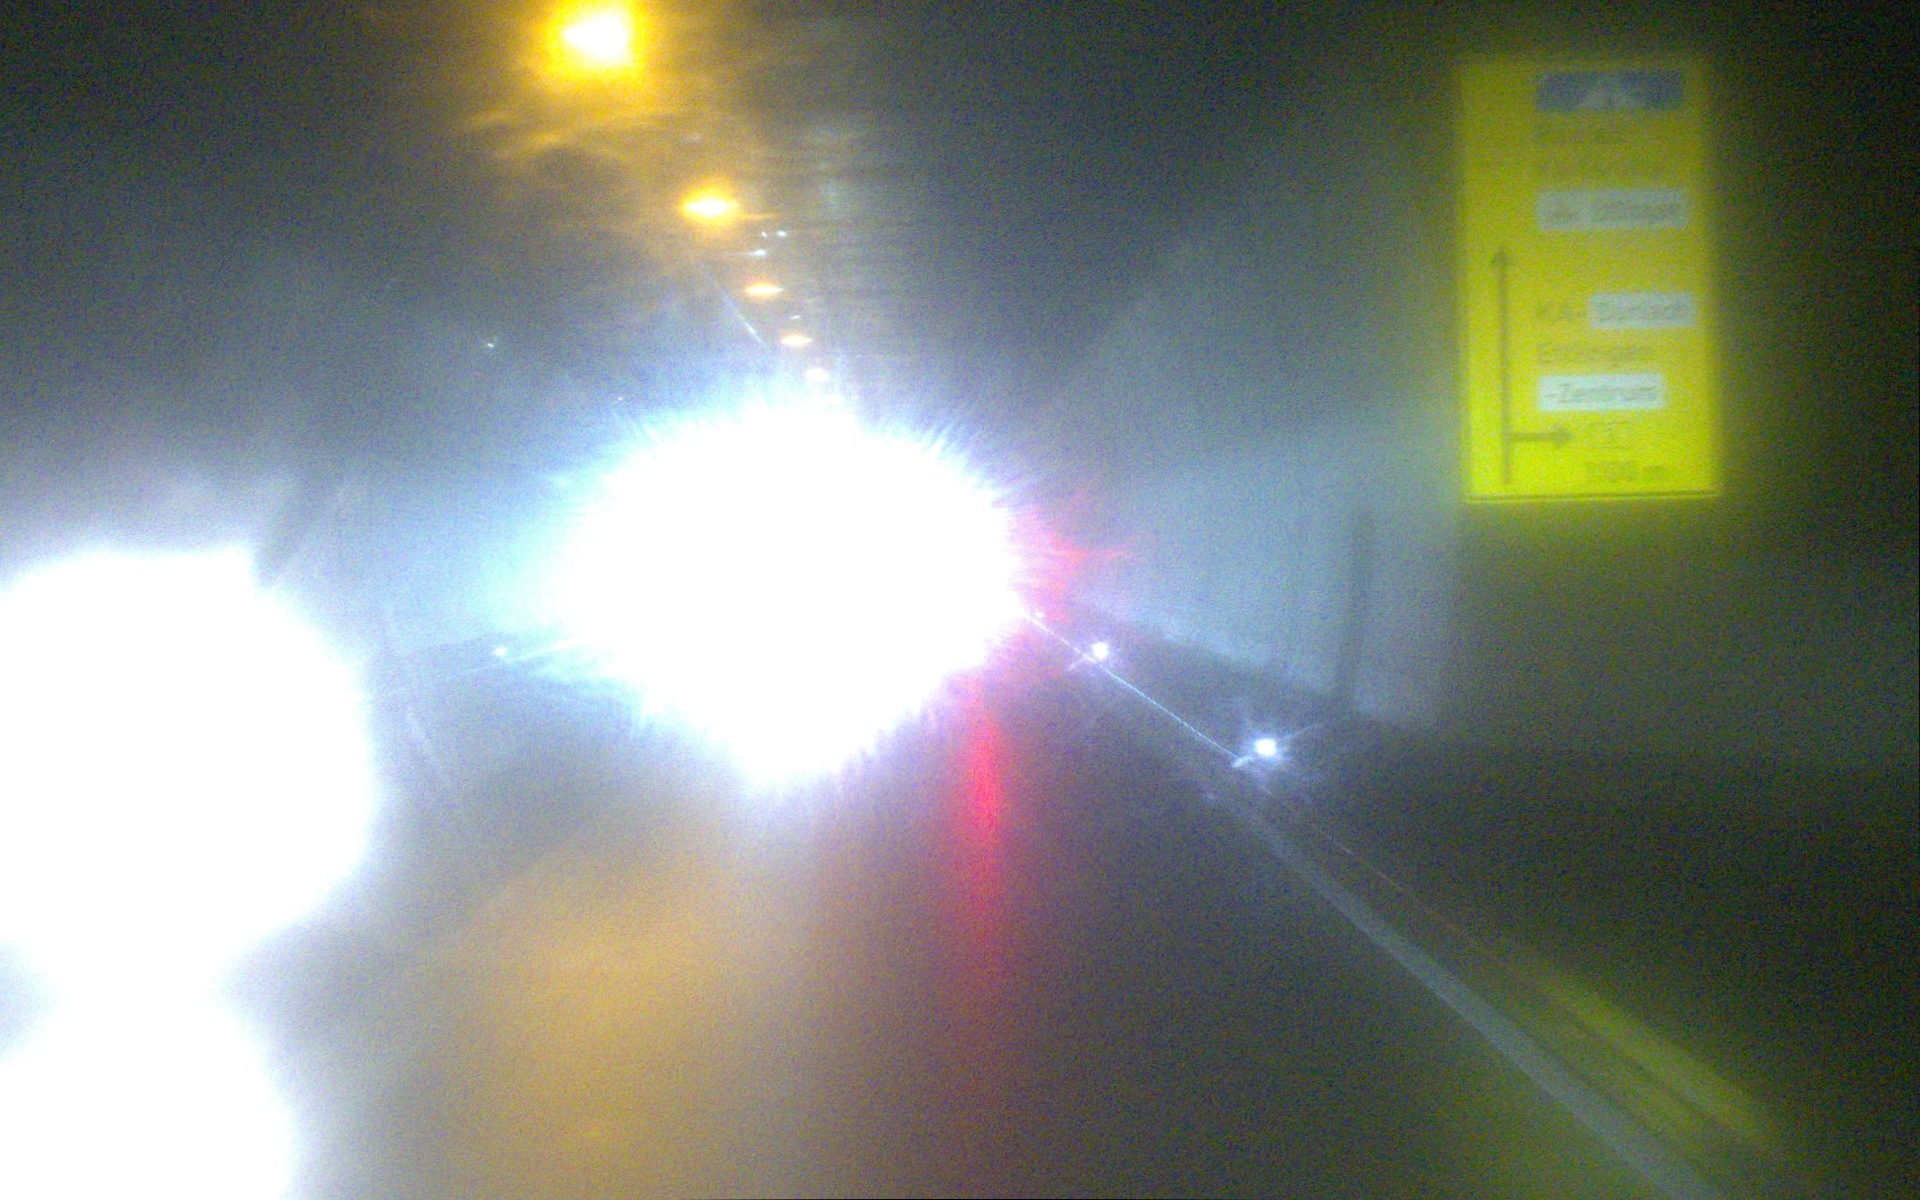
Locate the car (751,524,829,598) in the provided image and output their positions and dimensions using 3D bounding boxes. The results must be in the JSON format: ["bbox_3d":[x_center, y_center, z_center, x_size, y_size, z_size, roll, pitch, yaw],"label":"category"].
[{"bbox_3d":[-4.462,-1.056,90.742,1.841,1.893,4.608,0,1,0],"label":"car"}]

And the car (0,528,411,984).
[{"bbox_3d":[-3.338,0.509,14.080,1.520,1.544,4.054,0,2,0],"label":"car"}]

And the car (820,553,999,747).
[{"bbox_3d":[-0.471,0.438,33.851,1.635,1.752,4.146,0,1,0],"label":"car"}]
